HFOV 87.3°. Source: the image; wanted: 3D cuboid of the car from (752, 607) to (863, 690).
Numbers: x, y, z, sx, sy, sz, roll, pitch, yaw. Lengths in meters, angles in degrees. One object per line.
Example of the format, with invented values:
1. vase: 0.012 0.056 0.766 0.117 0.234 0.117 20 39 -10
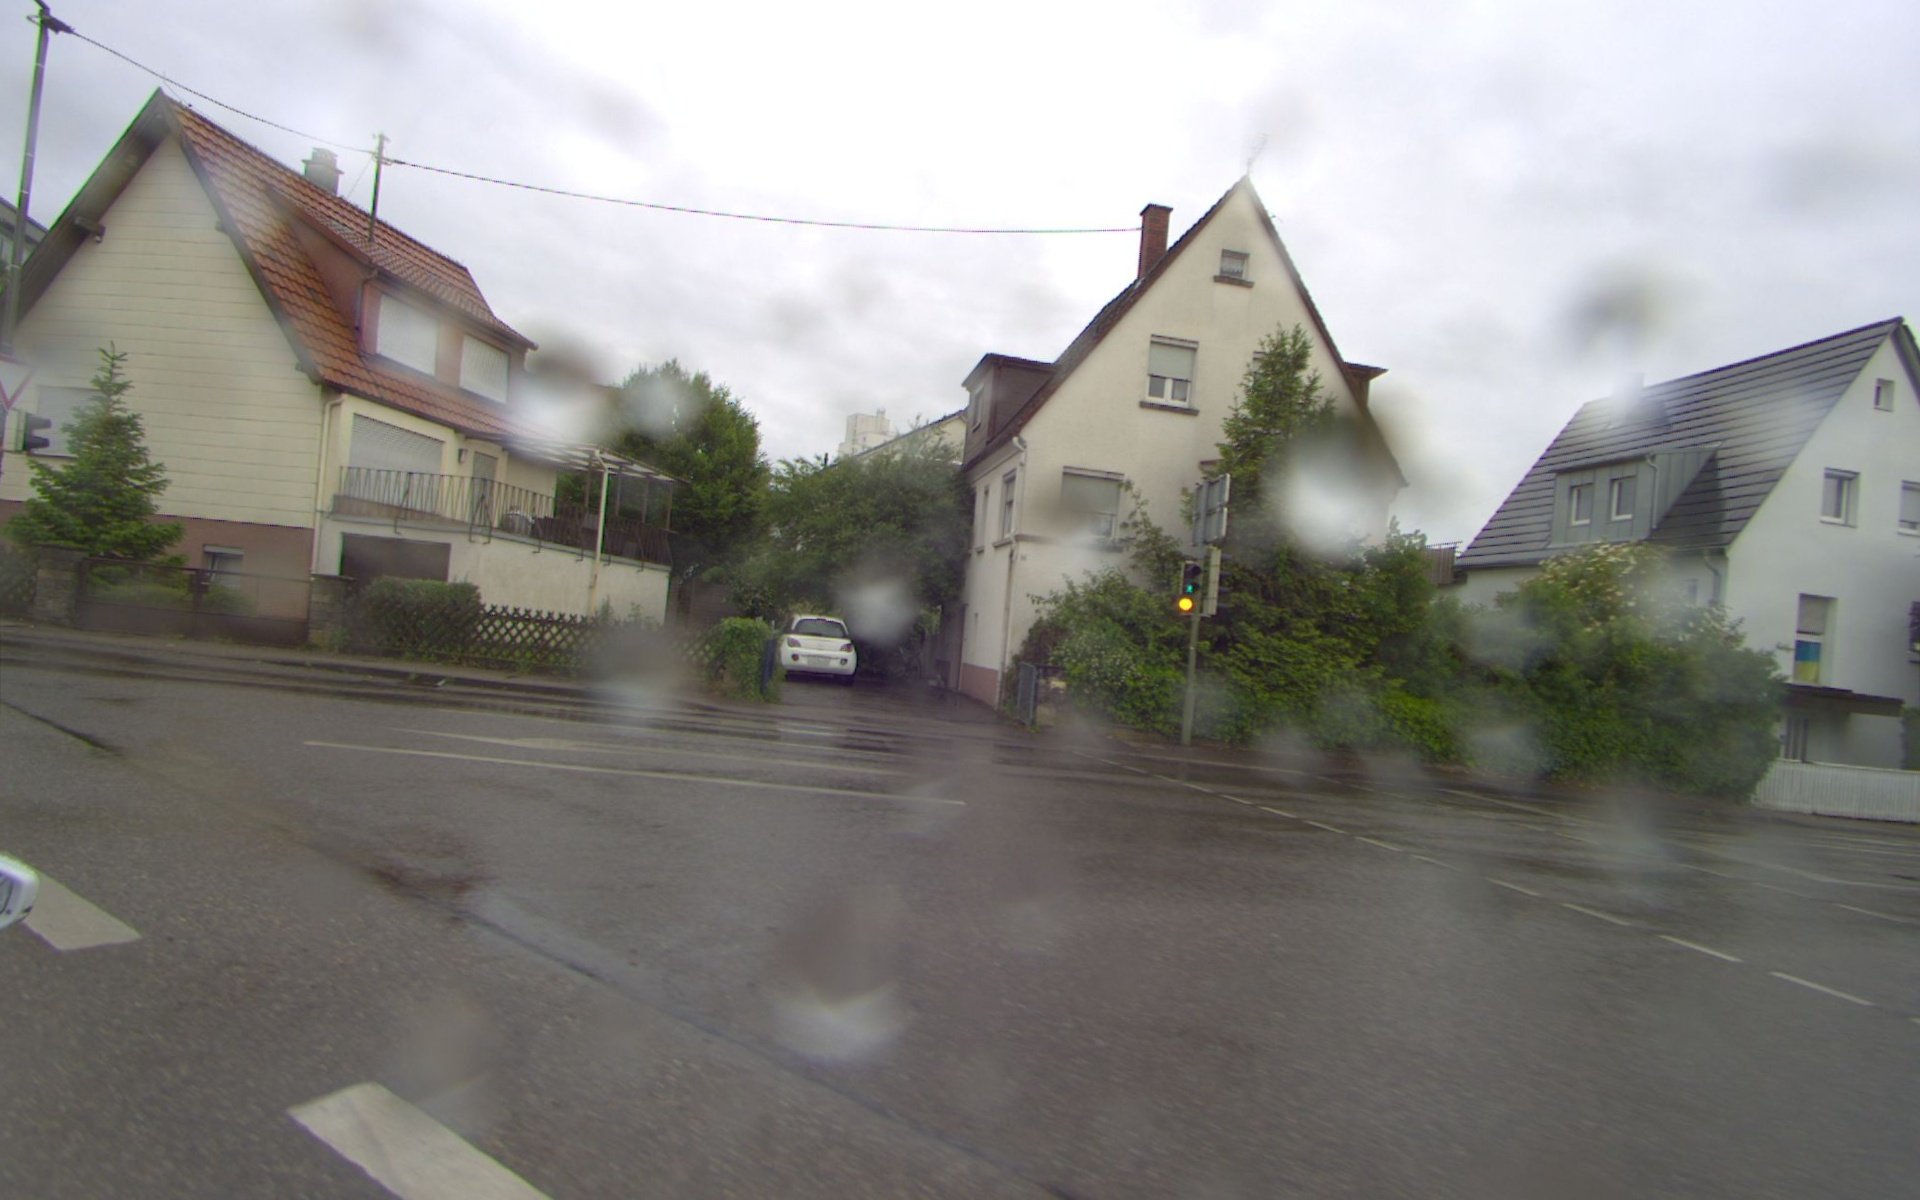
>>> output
1. car: -3.596 1.059 23.212 1.824 1.514 3.729 7 -2 -18
